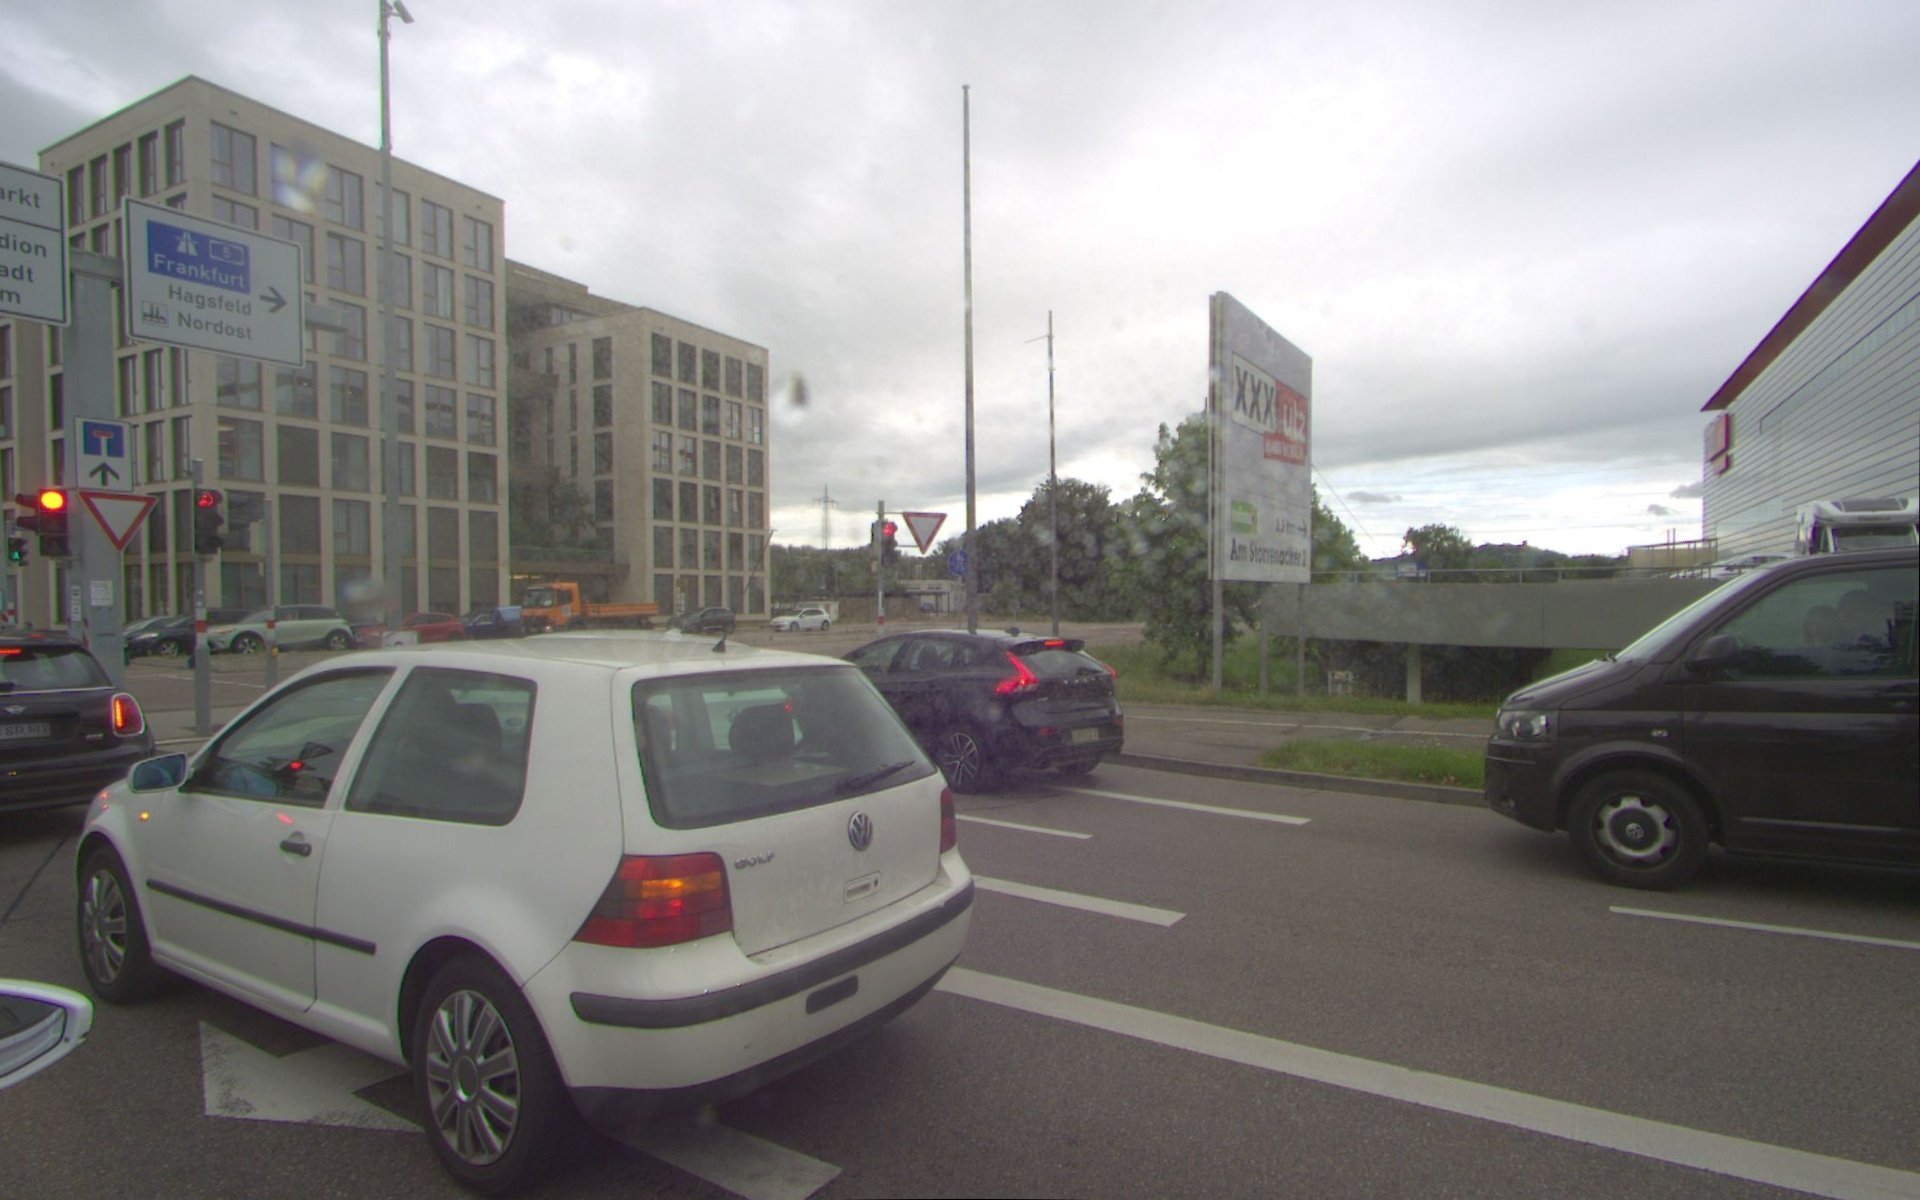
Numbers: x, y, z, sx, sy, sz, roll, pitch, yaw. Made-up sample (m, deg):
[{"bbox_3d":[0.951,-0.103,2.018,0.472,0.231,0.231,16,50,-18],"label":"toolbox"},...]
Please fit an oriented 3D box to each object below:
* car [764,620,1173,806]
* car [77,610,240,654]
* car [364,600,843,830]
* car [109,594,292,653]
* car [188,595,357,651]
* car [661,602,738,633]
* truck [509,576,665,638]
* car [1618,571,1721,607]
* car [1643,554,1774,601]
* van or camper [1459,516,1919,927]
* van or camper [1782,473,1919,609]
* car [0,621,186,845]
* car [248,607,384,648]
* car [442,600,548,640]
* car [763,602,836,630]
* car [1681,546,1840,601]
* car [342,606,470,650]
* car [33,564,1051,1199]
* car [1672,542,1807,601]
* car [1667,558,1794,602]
[{"bbox_3d":[-0.101,0.975,10.136,1.885,1.467,4.144,1,-2,-41],"label":"car"},{"bbox_3d":[-27.748,1.115,34.820,1.724,1.450,4.083,-1,-2,28],"label":"car"},{"bbox_3d":[-3.071,0.792,8.258,4.146,1.428,1.822,-2,-2,38],"label":"car"},{"bbox_3d":[-24.994,0.803,33.121,1.969,1.791,4.405,-1,-2,28],"label":"car"},{"bbox_3d":[-21.882,0.777,32.032,1.875,1.664,4.055,-1,-2,27],"label":"car"},{"bbox_3d":[-15.005,1.055,57.836,1.972,1.678,4.098,-1,-2,33],"label":"car"},{"bbox_3d":[-17.325,0.431,46.975,2.779,2.672,6.647,-1,-2,30],"label":"truck"},{"bbox_3d":[36.373,-0.538,51.497,4.199,1.697,1.768,-1,-2,32],"label":"car"},{"bbox_3d":[30.956,-0.885,41.563,4.199,1.697,1.768,-1,-2,32],"label":"car"},{"bbox_3d":[5.679,0.622,5.634,4.878,2.039,2.151,-1,-2,35],"label":"van or camper"},{"bbox_3d":[25.390,-1.441,28.046,2.676,3.175,7.201,-1,-2,32],"label":"van or camper"},{"bbox_3d":[-7.621,0.897,7.493,3.591,1.433,1.783,-1,-2,32],"label":"car"},{"bbox_3d":[-25.189,1.113,39.337,1.843,1.509,4.134,-1,-2,28],"label":"car"},{"bbox_3d":[-21.494,0.971,46.429,1.969,1.791,4.134,-1,-2,28],"label":"car"},{"bbox_3d":[-10.198,1.054,63.834,1.977,1.678,4.326,-2,-2,41],"label":"car"},{"bbox_3d":[28.407,-0.891,35.717,4.199,1.697,1.768,-1,-2,32],"label":"car"},{"bbox_3d":[-21.627,1.123,39.240,1.970,1.622,3.984,-1,-2,29],"label":"car"},{"bbox_3d":[-1.806,0.739,3.995,3.948,1.496,1.829,-1,-2,32],"label":"car"},{"bbox_3d":[30.117,-1.059,38.856,3.945,2.039,1.989,-1,-2,34],"label":"car"},{"bbox_3d":[33.364,-0.808,43.516,4.199,1.697,1.768,-1,-2,32],"label":"car"}]
